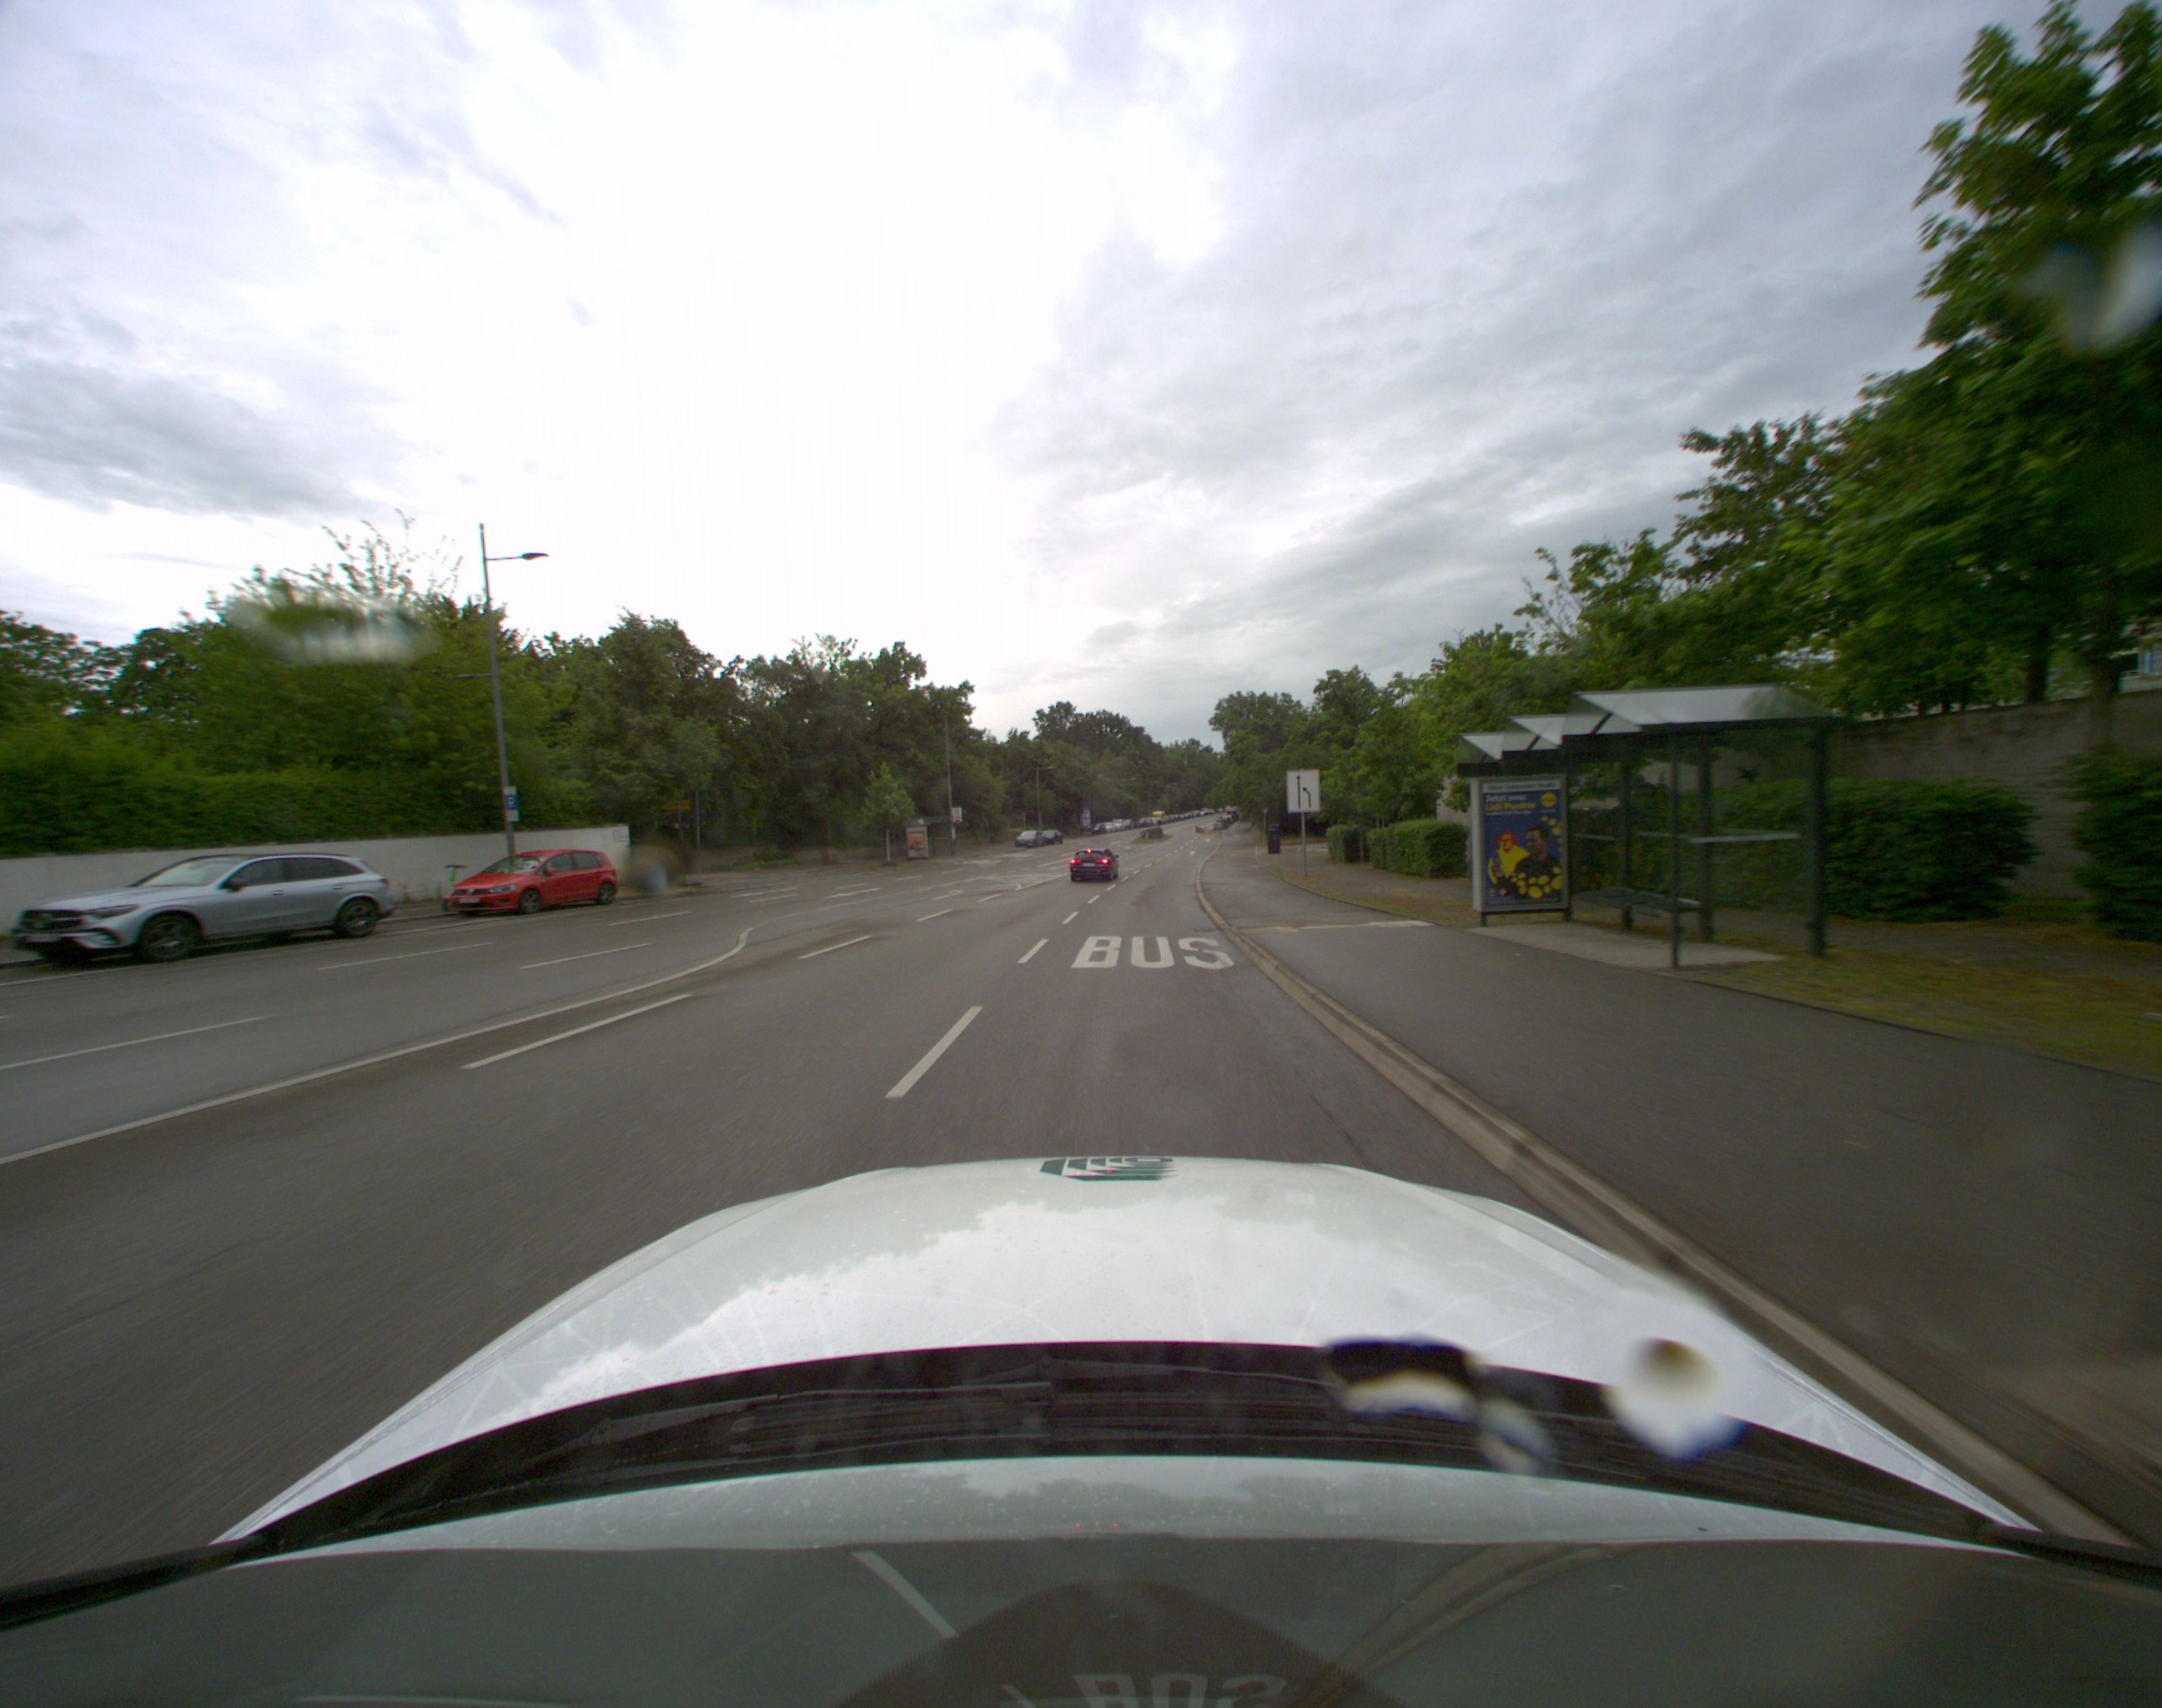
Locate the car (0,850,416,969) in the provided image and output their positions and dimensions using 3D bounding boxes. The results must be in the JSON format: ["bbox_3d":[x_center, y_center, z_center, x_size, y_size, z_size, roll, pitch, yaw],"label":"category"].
[{"bbox_3d":[-14.740,0.788,14.287,1.755,1.653,4.893,0,1,6],"label":"car"}]

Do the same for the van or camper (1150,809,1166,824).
[{"bbox_3d":[14.878,-7.200,156.894,2.127,2.626,5.708,-1,3,16],"label":"van or camper"}]

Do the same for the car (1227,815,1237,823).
[{"bbox_3d":[29.055,-6.692,156.613,1.810,1.485,4.214,-1,2,12],"label":"car"}]

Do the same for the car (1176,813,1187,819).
[{"bbox_3d":[22.438,-8.515,181.185,1.856,1.303,4.490,-1,4,15],"label":"car"}]

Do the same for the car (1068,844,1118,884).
[{"bbox_3d":[0.588,0.390,35.980,1.872,1.465,4.008,1,4,5],"label":"car"}]

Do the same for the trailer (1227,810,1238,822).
[{"bbox_3d":[30.367,-7.563,163.028,1.892,2.246,4.788,-1,4,14],"label":"trailer"}]

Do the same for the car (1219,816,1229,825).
[{"bbox_3d":[23.925,-5.624,136.372,1.549,1.459,3.689,0,3,12],"label":"car"}]

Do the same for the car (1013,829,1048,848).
[{"bbox_3d":[-4.648,-1.482,75.707,1.828,1.588,4.948,0,3,14],"label":"car"}]

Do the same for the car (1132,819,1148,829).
[{"bbox_3d":[10.125,-5.104,139.138,1.905,1.616,4.510,-2,3,15],"label":"car"}]

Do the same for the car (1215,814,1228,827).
[{"bbox_3d":[19.884,-4.751,115.180,1.811,1.614,4.265,0,3,10],"label":"car"}]

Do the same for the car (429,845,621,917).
[{"bbox_3d":[-14.125,0.613,21.030,1.656,1.586,4.225,-2,1,6],"label":"car"}]

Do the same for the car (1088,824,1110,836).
[{"bbox_3d":[2.481,-3.251,110.007,1.735,1.444,4.609,0,4,17],"label":"car"}]

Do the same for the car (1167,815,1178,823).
[{"bbox_3d":[19.317,-7.408,172.583,1.590,1.509,3.995,-1,4,16],"label":"car"}]

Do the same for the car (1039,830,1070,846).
[{"bbox_3d":[-2.604,-1.641,81.990,1.892,1.414,4.802,0,3,14],"label":"car"}]

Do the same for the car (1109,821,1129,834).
[{"bbox_3d":[5.644,-3.965,121.680,1.979,1.764,4.981,-1,3,14],"label":"car"}]

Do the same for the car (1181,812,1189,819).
[{"bbox_3d":[24.265,-8.876,189.390,1.450,1.570,2.996,-1,3,14],"label":"car"}]

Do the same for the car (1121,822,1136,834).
[{"bbox_3d":[7.571,-4.104,128.744,1.720,1.648,4.588,0,3,12],"label":"car"}]

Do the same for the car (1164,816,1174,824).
[{"bbox_3d":[18.052,-7.049,167.374,1.590,1.509,3.153,-1,4,16],"label":"car"}]

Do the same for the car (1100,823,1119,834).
[{"bbox_3d":[4.089,-3.613,115.620,1.706,1.459,4.729,-1,3,15],"label":"car"}]

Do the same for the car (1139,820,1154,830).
[{"bbox_3d":[11.670,-5.166,144.519,1.980,1.699,4.634,-1,4,13],"label":"car"}]
